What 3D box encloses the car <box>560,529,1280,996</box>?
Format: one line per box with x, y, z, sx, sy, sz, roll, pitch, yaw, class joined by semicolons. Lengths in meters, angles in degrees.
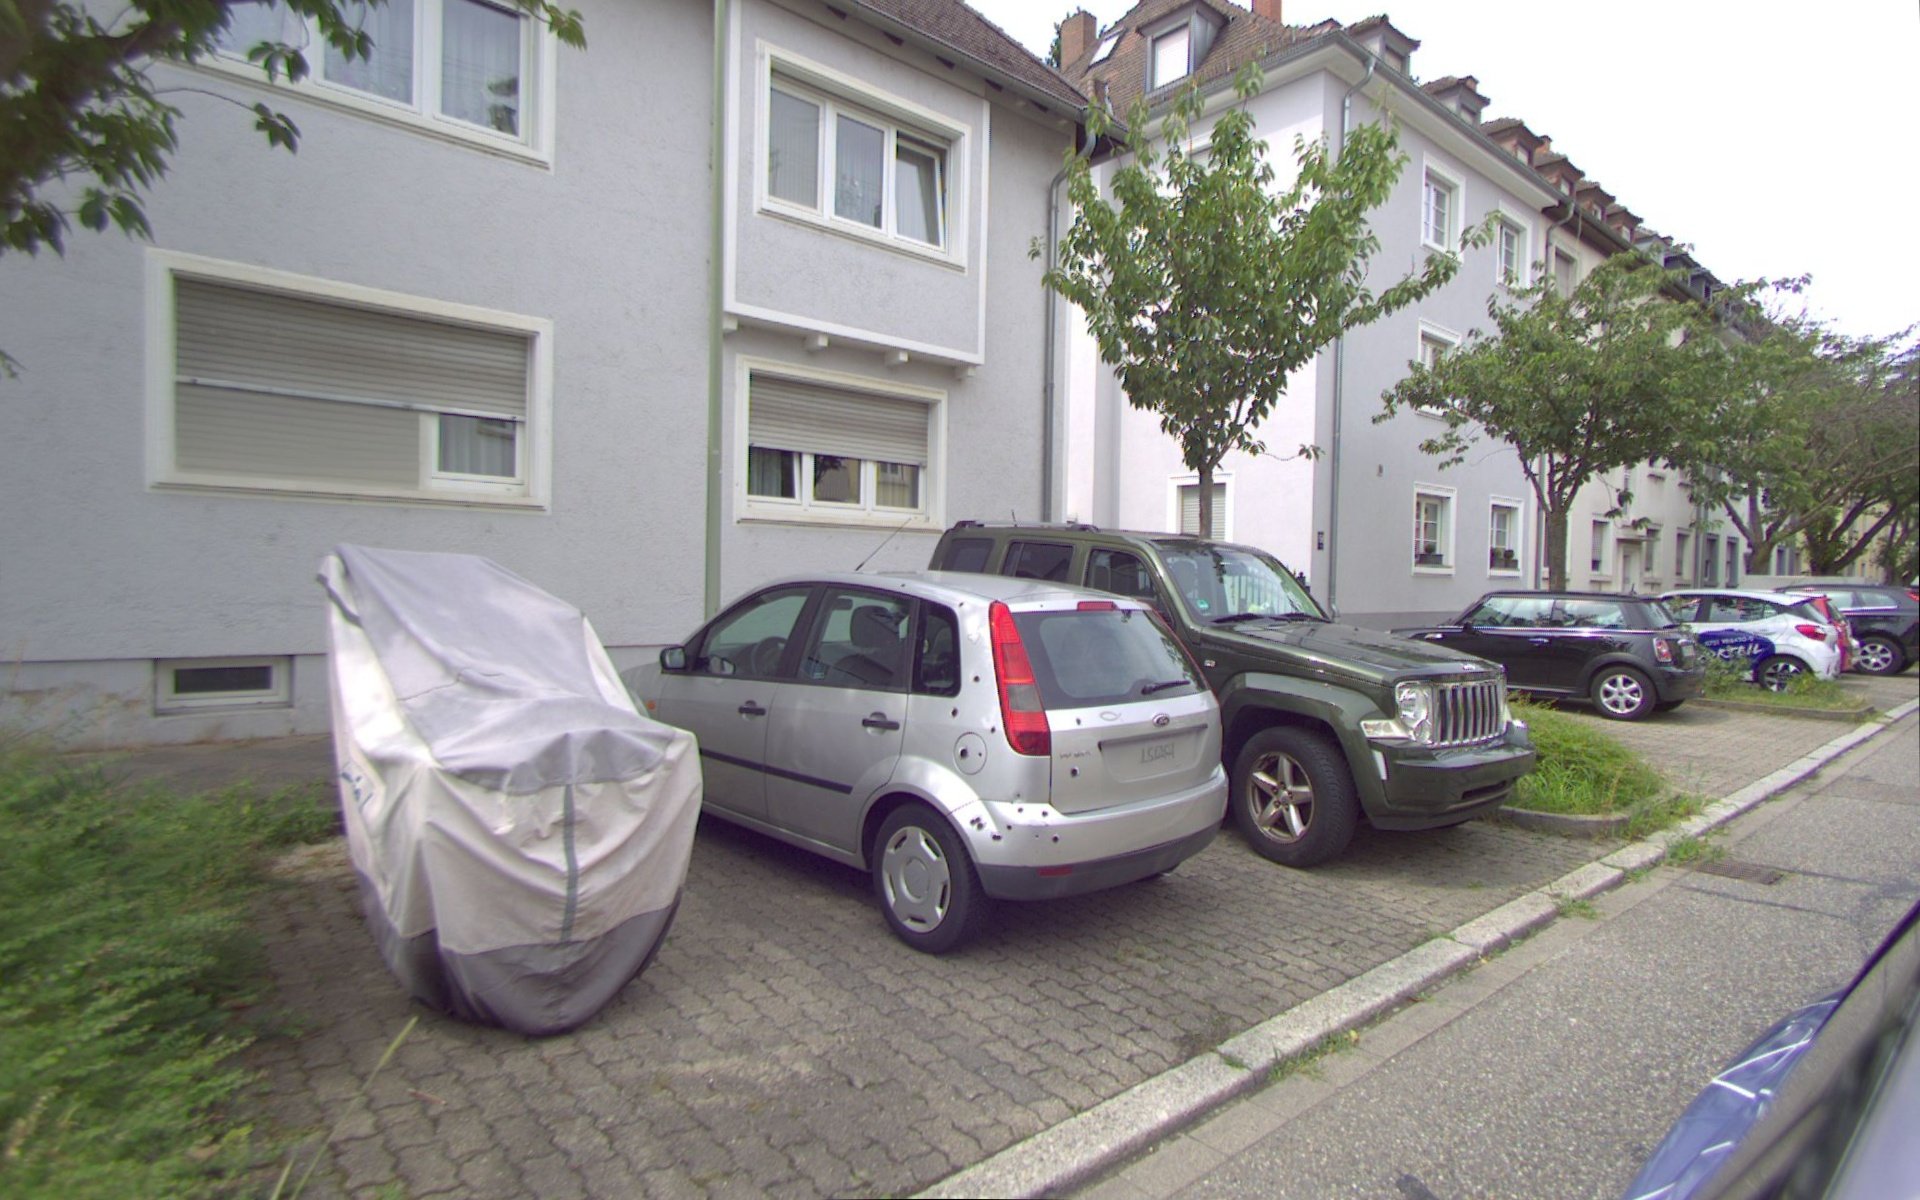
-0.469;0.439;5.250;1.744;1.472;3.630;0;4;-44;car

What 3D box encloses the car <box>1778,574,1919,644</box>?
24.440;0.243;26.648;1.871;1.617;4.223;0;4;-42;car

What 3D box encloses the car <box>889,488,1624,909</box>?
1.526;0.279;6.830;1.760;1.880;4.540;0;4;-37;car

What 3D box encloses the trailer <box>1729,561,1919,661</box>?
18.608;0.175;21.739;1.374;1.853;2.971;0;4;-36;trailer

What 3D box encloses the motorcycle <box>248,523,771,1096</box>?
-1.921;0.486;3.943;1.014;1.482;2.703;0;2;-43;motorcycle

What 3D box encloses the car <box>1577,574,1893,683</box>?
13.073;0.379;17.260;1.738;1.427;3.994;0;4;-43;car

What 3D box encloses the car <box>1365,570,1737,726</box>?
7.184;0.458;12.558;1.777;1.470;3.551;0;4;-40;car

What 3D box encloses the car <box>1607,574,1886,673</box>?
14.602;0.351;18.953;1.831;1.459;3.758;0;4;-39;car

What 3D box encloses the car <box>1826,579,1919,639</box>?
29.896;0.319;31.402;1.869;1.697;4.228;0;4;-38;car

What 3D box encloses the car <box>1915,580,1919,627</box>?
34.307;0.252;33.279;1.609;1.554;3.997;0;4;-40;car

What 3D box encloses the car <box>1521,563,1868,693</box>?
11.129;0.313;15.545;1.738;1.548;3.994;0;4;-43;car

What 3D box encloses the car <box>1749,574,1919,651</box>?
22.462;0.291;25.108;1.871;1.617;4.223;0;4;-42;car

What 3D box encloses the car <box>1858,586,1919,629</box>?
35.129;0.347;36.388;1.609;1.437;3.997;0;4;-40;car

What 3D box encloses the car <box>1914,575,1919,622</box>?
44.490;0.104;43.238;2.039;2.047;5.236;0;4;-44;car

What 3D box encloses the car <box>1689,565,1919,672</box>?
17.020;0.304;19.645;1.869;1.756;4.228;0;4;-38;car
